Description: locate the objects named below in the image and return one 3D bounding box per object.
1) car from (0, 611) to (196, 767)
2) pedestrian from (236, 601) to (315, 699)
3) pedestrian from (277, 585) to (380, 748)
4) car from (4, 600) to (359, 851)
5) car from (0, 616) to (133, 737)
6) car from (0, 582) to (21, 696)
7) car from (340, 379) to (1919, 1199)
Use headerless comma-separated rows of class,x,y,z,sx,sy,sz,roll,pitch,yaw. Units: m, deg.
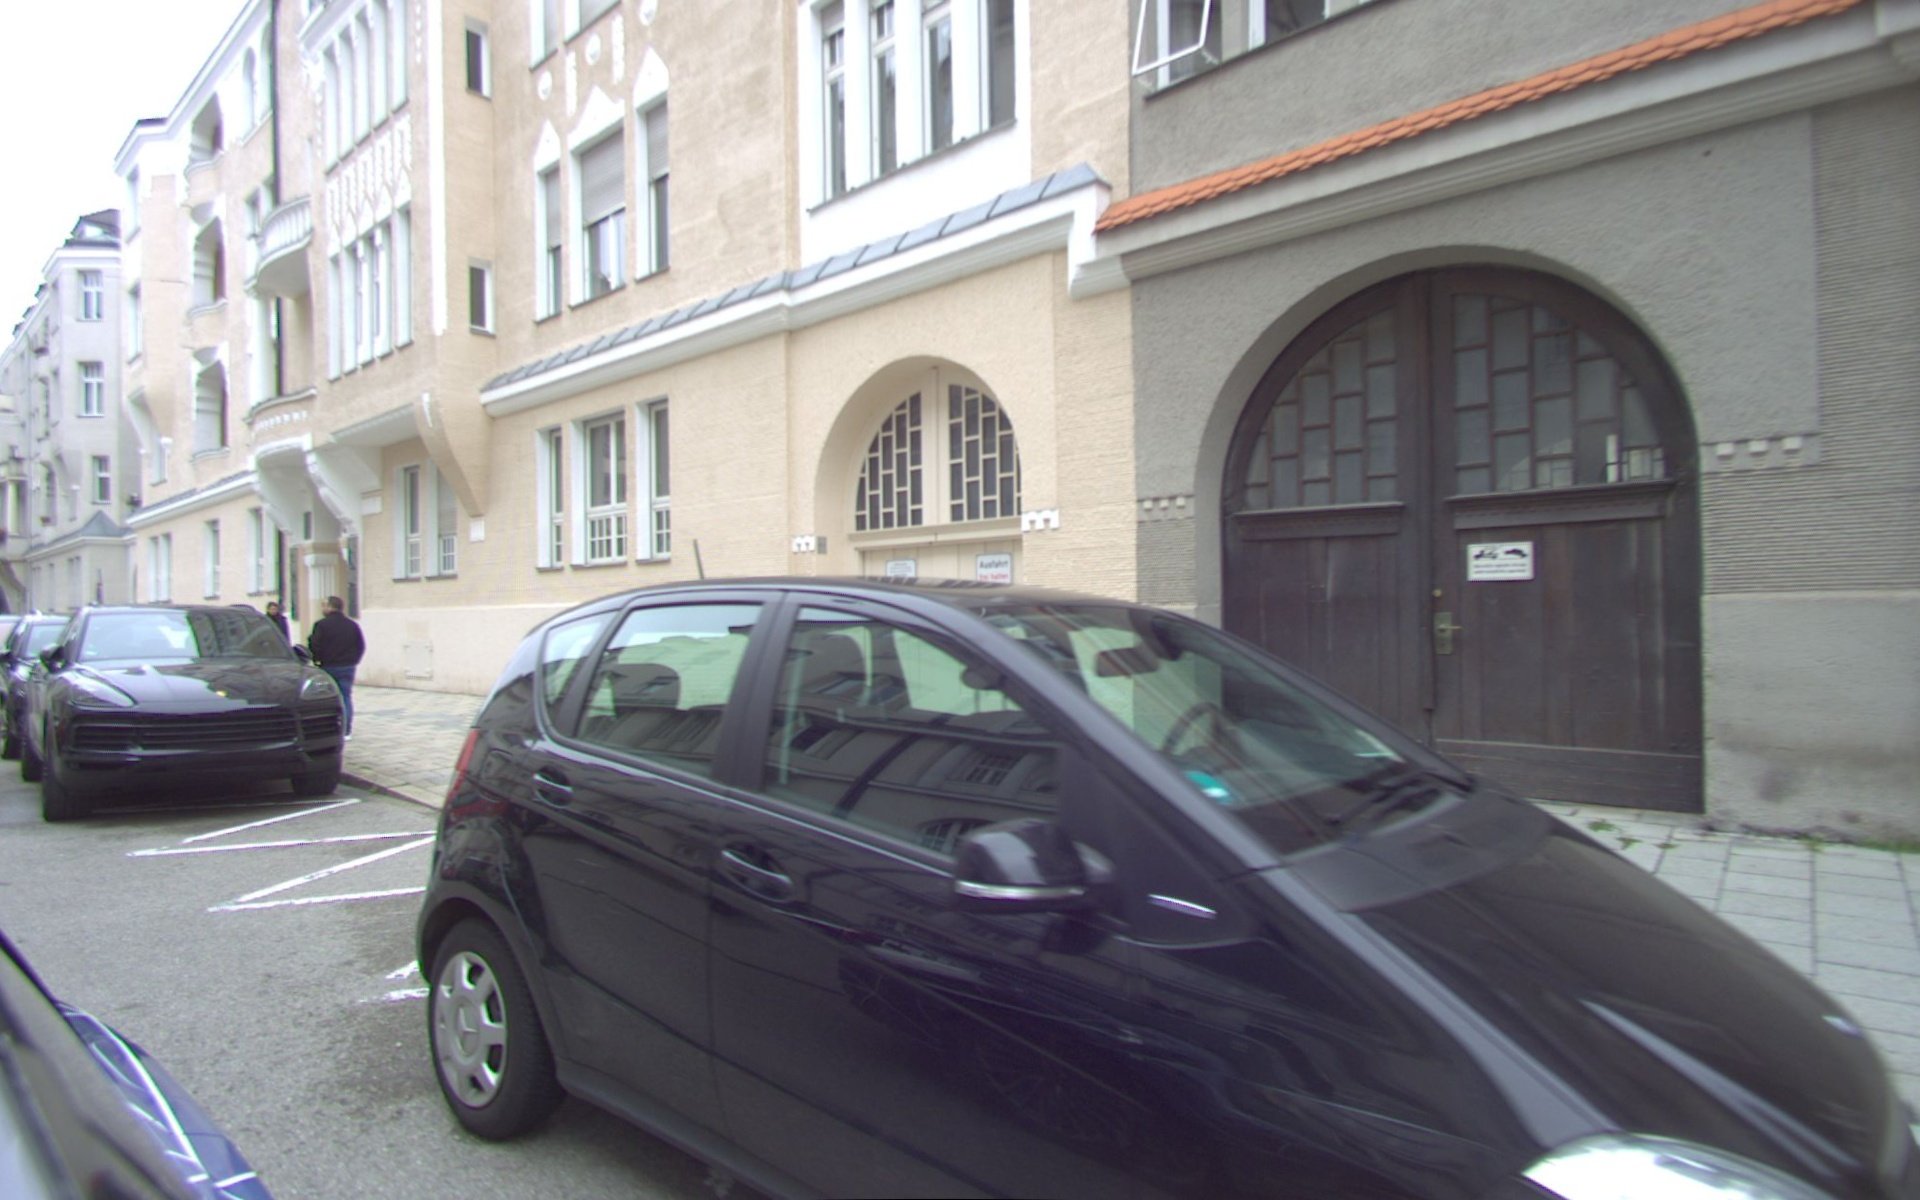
car,-11.189,1.004,12.728,4.100,1.655,1.713,-2,-2,41
pedestrian,-12.691,0.908,18.763,0.939,1.742,0.982,-2,-1,41
pedestrian,-7.367,0.743,11.814,0.740,1.803,0.826,-2,-1,41
car,-7.185,0.886,9.123,4.619,1.671,1.929,-2,-1,45
car,-14.743,1.117,16.006,4.458,1.661,1.853,-2,-1,41
car,-24.796,0.949,24.805,5.677,2.641,2.076,-2,-2,42
car,0.173,0.613,2.619,3.808,1.584,1.786,-1,-1,37
